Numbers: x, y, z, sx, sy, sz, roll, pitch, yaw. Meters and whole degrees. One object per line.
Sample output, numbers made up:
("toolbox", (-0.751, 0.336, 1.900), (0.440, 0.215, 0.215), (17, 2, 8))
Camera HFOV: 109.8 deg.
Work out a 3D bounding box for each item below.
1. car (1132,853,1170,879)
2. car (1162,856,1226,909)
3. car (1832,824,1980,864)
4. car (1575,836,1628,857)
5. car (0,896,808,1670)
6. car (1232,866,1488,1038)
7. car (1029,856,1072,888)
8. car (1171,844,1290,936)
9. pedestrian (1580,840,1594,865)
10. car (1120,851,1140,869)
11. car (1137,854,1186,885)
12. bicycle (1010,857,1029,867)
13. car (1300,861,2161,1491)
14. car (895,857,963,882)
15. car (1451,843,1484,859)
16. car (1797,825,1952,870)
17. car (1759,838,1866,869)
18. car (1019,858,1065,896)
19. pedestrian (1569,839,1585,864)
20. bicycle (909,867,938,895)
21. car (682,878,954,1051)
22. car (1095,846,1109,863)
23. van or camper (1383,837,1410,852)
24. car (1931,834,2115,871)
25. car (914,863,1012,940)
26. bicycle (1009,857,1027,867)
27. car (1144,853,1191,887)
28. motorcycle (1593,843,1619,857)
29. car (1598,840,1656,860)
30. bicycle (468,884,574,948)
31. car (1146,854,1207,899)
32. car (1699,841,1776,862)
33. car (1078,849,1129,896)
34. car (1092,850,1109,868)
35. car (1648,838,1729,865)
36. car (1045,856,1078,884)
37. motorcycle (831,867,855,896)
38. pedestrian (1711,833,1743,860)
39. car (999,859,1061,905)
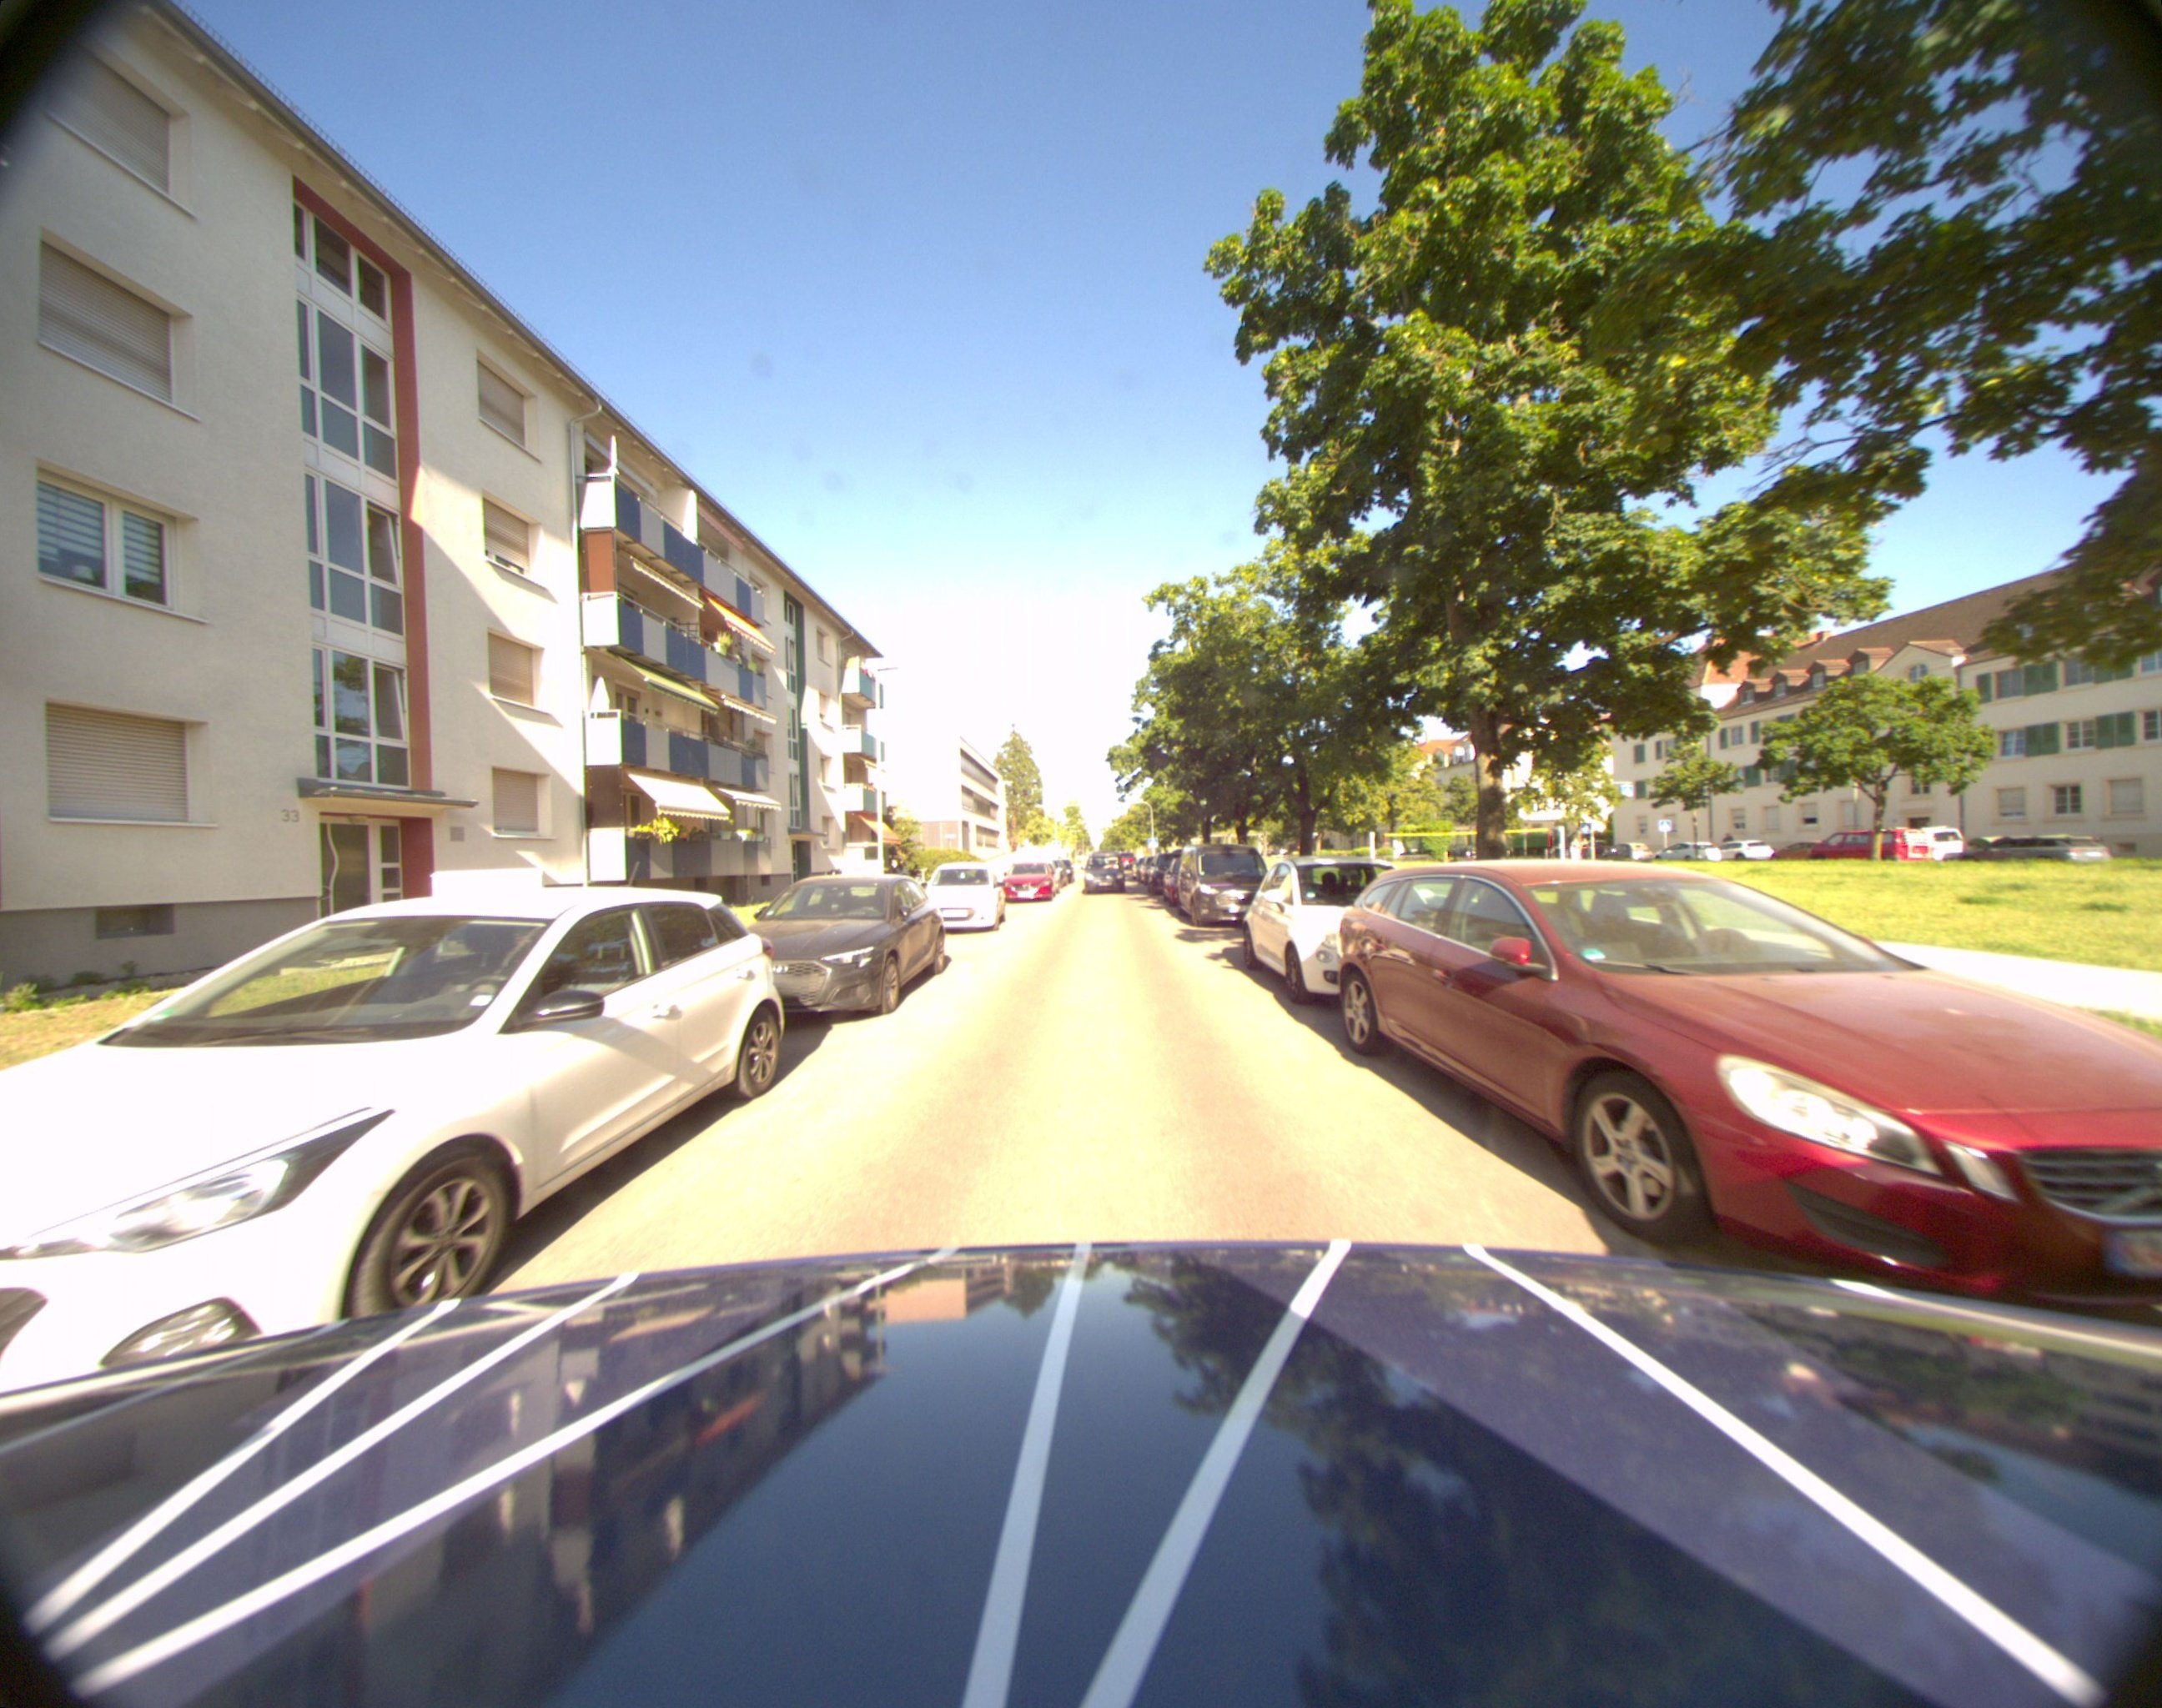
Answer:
("car", (4.191, 0.677, 46.263), (1.840, 1.444, 4.968), (-1, 0, 0))
("car", (3.428, 0.821, 23.610), (1.541, 1.420, 4.088), (-2, 0, 3))
("car", (44.268, -0.523, 40.999), (2.226, 1.973, 5.257), (-2, 0, -1))
("car", (52.325, -0.732, 76.458), (3.812, 1.944, 2.043), (-2, 0, 3))
("car", (-3.027, 1.059, 3.730), (1.725, 1.427, 4.153), (-1, 0, 2))
("car", (2.891, 0.917, 8.723), (1.590, 1.484, 3.685), (0, 0, 0))
("car", (-1.521, 0.891, 39.591), (1.774, 1.520, 4.558), (-2, 0, 3))
("car", (3.253, 0.683, 17.521), (1.869, 1.774, 4.991), (-1, 1, 2))
("pedestrian", (34.186, -0.123, 51.319), (0.544, 1.675, 0.674), (-2, 1, 7))
("car", (5.469, 0.624, 83.599), (2.021, 1.867, 4.742), (-2, 0, 5))
("car", (4.221, 0.777, 40.666), (1.999, 1.507, 5.157), (0, 0, -1))
("bicycle", (-7.322, 0.950, 90.384), (2.084, 1.058, 0.860), (1, 1, 2))
("car", (2.880, 0.834, 4.275), (1.760, 1.483, 4.667), (-2, 0, -2))
("car", (-10.876, 1.082, 54.505), (4.418, 1.614, 1.914), (-2, 0, -1))
("car", (45.252, -0.309, 88.957), (1.954, 1.783, 4.001), (-2, 0, 3))
("car", (38.824, -0.315, 37.427), (2.226, 1.973, 5.258), (-2, 0, 2))
("car", (44.366, -0.044, 46.242), (1.999, 1.753, 4.644), (-2, 0, 0))
("car", (-1.723, 0.980, 34.516), (1.878, 1.525, 4.492), (-2, 0, -2))
("pedestrian", (33.475, -0.168, 51.276), (0.544, 1.675, 0.750), (-2, 1, 4))
("bicycle", (-6.684, 1.127, 32.312), (0.721, 1.071, 1.897), (-2, 0, 3))
("car", (-2.763, 1.076, 9.156), (1.703, 1.427, 4.471), (0, 0, 0))
("car", (3.306, 0.054, 118.162), (2.073, 2.583, 6.203), (-2, 0, 3))
("van or camper", (45.866, -1.402, 110.638), (2.273, 2.002, 4.374), (-2, 1, 2))
("car", (41.133, -0.064, 33.428), (1.998, 1.476, 4.958), (-1, 0, 1))
("car", (-2.622, 1.012, 17.737), (1.752, 1.490, 3.860), (-1, 0, -1))
("bicycle", (-7.404, 0.946, 89.097), (2.029, 1.057, 0.883), (1, 1, 1))
("car", (3.988, 0.725, 35.603), (1.884, 1.411, 3.803), (-1, 1, 3))
("motorcycle", (47.901, -0.361, 69.361), (0.817, 1.297, 2.145), (-2, 0, 0))
("car", (38.771, -0.288, 54.058), (1.654, 1.325, 3.515), (-2, 0, 1))
("bicycle", (-10.687, 1.150, 14.597), (0.524, 1.064, 2.010), (1, 0, 1))
("car", (3.658, 0.812, 29.875), (2.030, 1.616, 4.758), (0, 0, 3))
("car", (44.454, -0.183, 51.540), (1.773, 1.348, 4.000), (-2, 0, 1))
("car", (0.923, 0.722, 31.451), (1.902, 1.779, 4.157), (-2, 0, 1))
("car", (2.208, 0.517, 84.716), (1.788, 1.899, 4.627), (-2, 0, 3))
("car", (38.817, -0.164, 48.708), (1.793, 1.574, 4.235), (-2, 0, 1))
("car", (-1.104, 0.907, 45.056), (1.662, 1.465, 3.793), (-3, 0, 2))
("motorcycle", (-10.073, 1.142, 32.182), (0.584, 1.144, 2.036), (-2, 1, -7))
("pedestrian", (46.895, -0.532, 55.145), (1.343, 1.952, 1.163), (-2, 1, -4))
("car", (-1.833, 0.986, 28.648), (1.848, 1.464, 5.065), (-2, 0, 1))
